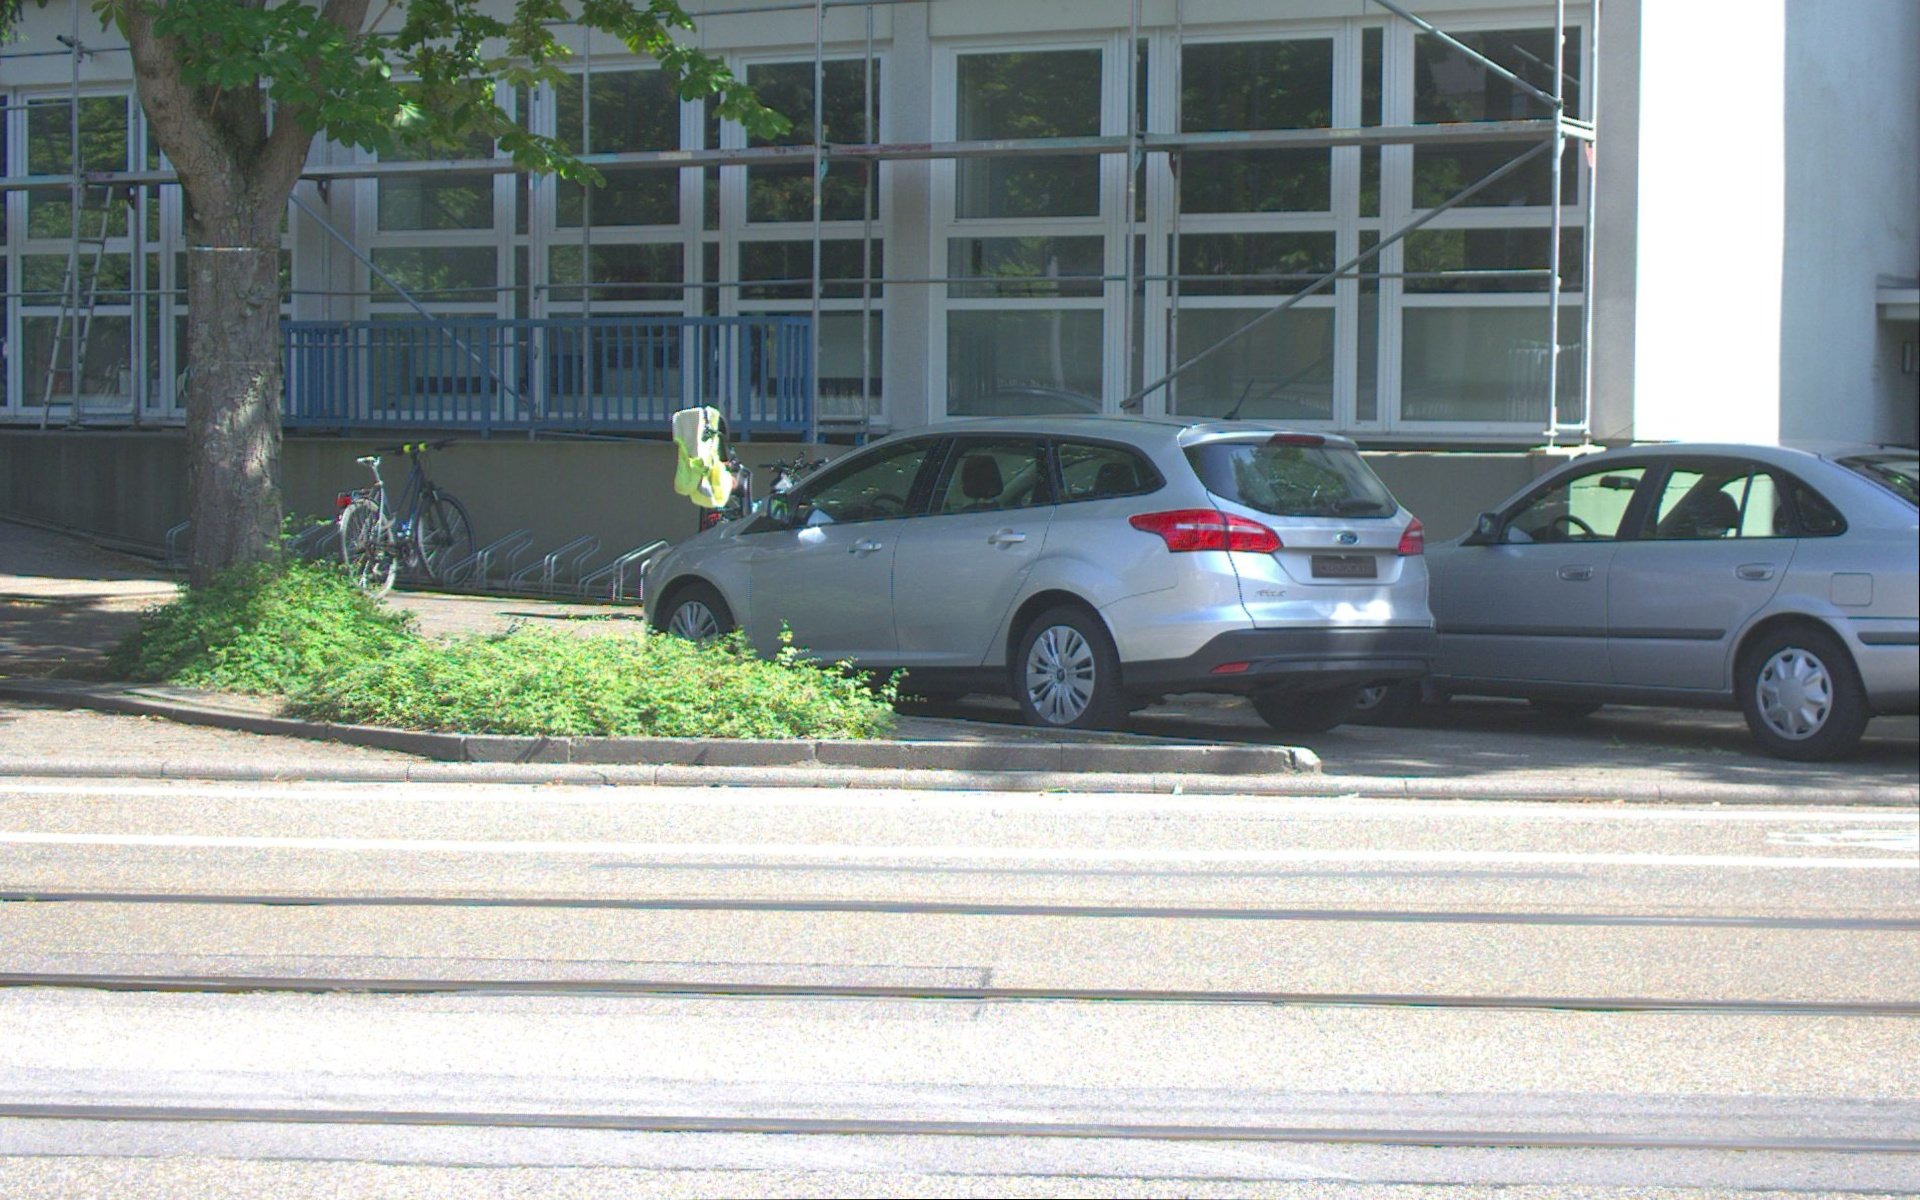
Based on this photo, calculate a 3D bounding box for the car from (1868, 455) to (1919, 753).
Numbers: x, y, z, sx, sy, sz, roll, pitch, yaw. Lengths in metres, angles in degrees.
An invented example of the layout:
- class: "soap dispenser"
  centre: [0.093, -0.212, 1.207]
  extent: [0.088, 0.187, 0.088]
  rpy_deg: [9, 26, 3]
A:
- class: "car"
  centre: [6.481, 0.053, 16.334]
  extent: [1.608, 1.481, 3.944]
  rpy_deg: [-1, 3, -42]

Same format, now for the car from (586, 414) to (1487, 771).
- class: "car"
  centre: [0.235, -0.136, 16.720]
  extent: [1.779, 1.481, 4.434]
  rpy_deg: [-2, 4, -43]

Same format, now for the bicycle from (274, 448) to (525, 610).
- class: "bicycle"
  centre: [-3.936, -0.523, 24.344]
  extent: [0.742, 1.082, 2.201]
  rpy_deg: [2, 3, 21]

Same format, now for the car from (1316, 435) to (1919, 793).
- class: "car"
  centre: [3.688, -0.009, 16.212]
  extent: [1.608, 1.481, 3.944]
  rpy_deg: [-1, 3, -41]

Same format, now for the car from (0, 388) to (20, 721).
- class: "car"
  centre: [-6.073, -0.270, 16.534]
  extent: [1.572, 1.525, 3.457]
  rpy_deg: [-1, 4, -43]

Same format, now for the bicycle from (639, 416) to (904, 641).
- class: "bicycle"
  centre: [-1.249, -0.503, 23.289]
  extent: [0.662, 1.448, 2.086]
  rpy_deg: [3, 3, 33]
